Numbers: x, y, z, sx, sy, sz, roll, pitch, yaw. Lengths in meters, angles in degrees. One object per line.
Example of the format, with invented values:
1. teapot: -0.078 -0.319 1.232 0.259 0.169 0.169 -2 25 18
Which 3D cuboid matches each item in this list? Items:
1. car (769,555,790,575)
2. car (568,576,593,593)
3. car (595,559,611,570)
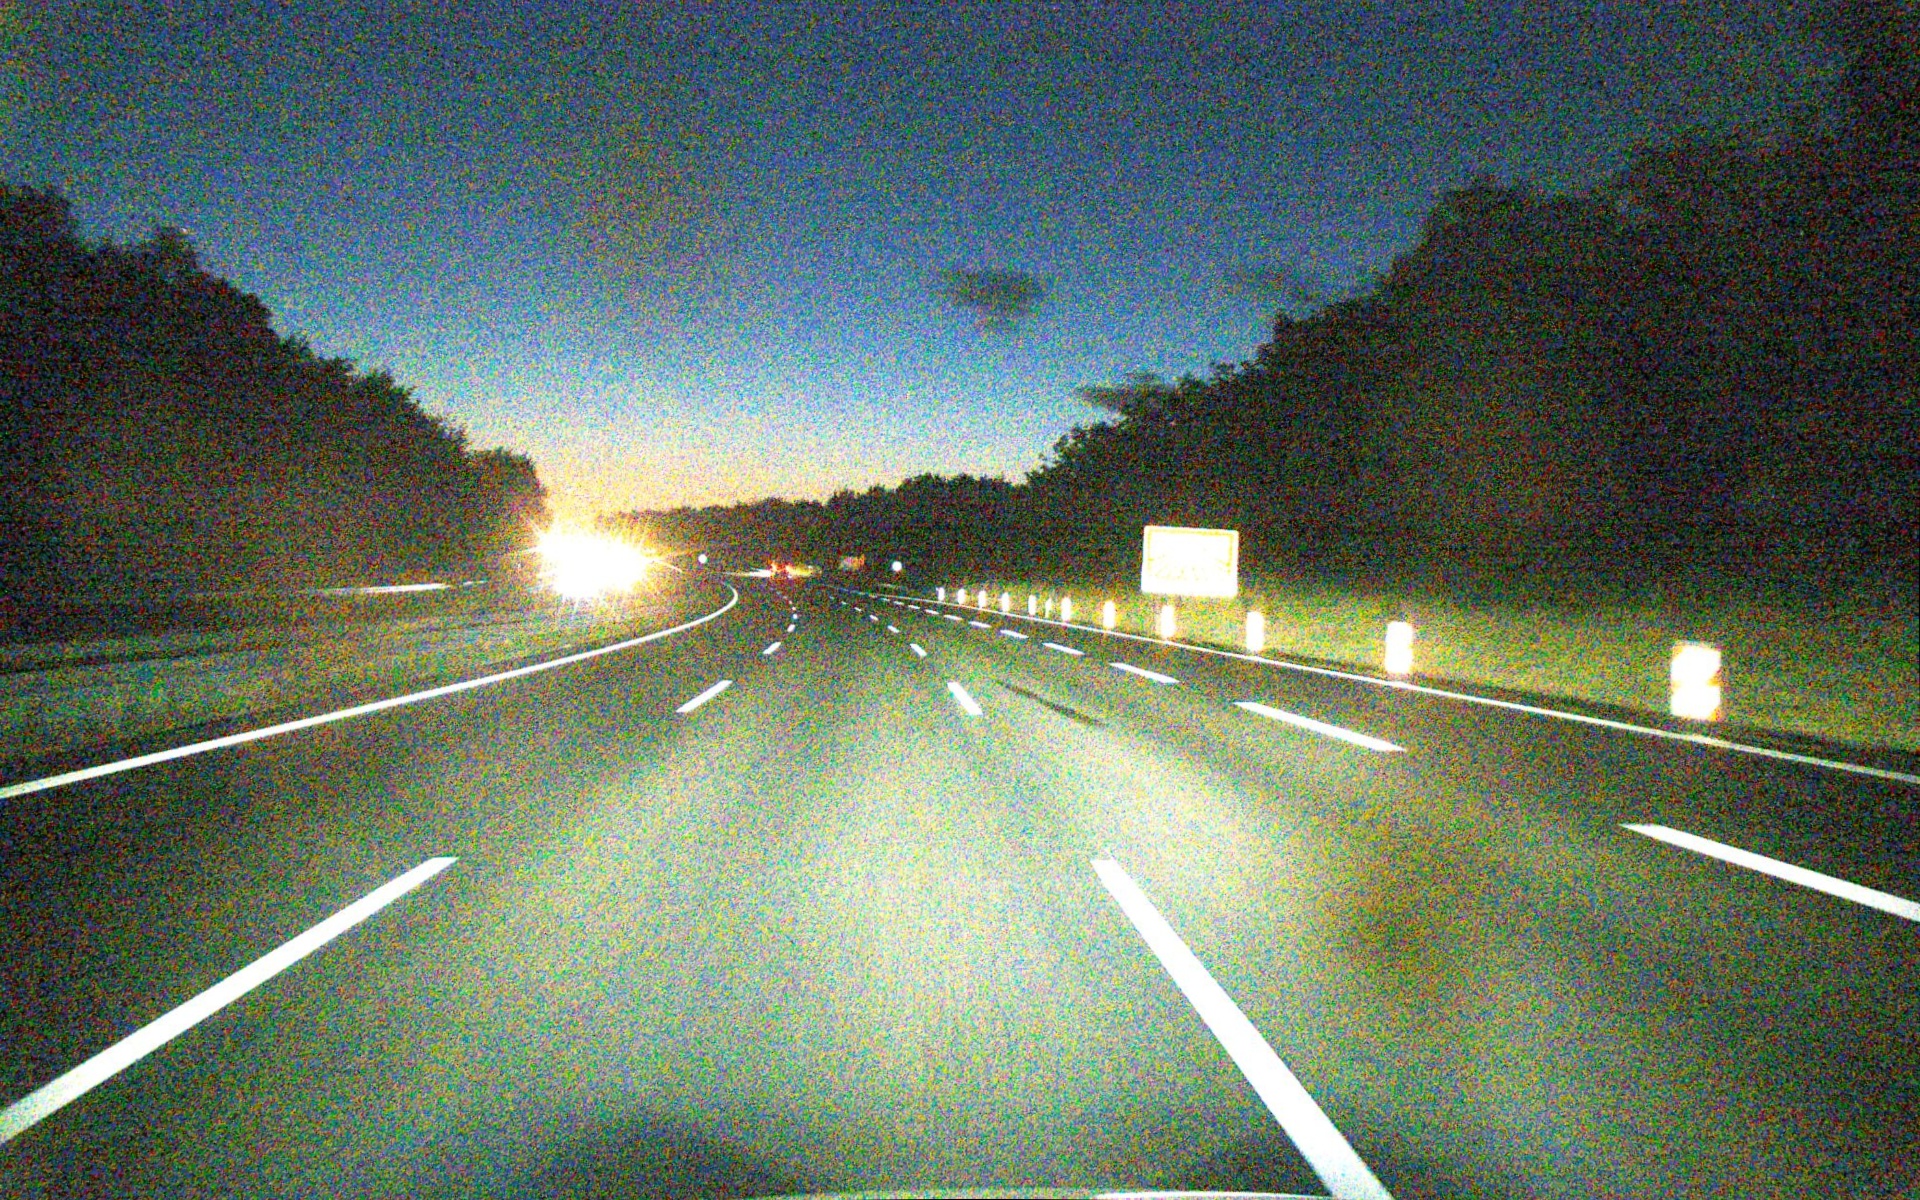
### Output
1. car: -24.908 -4.875 227.523 2.481 2.597 6.039 3 1 -9
2. car: -35.757 -1.460 155.914 1.956 1.534 4.308 0 1 -8
3. car: -50.537 -4.985 234.300 1.956 1.534 3.994 0 1 -8
